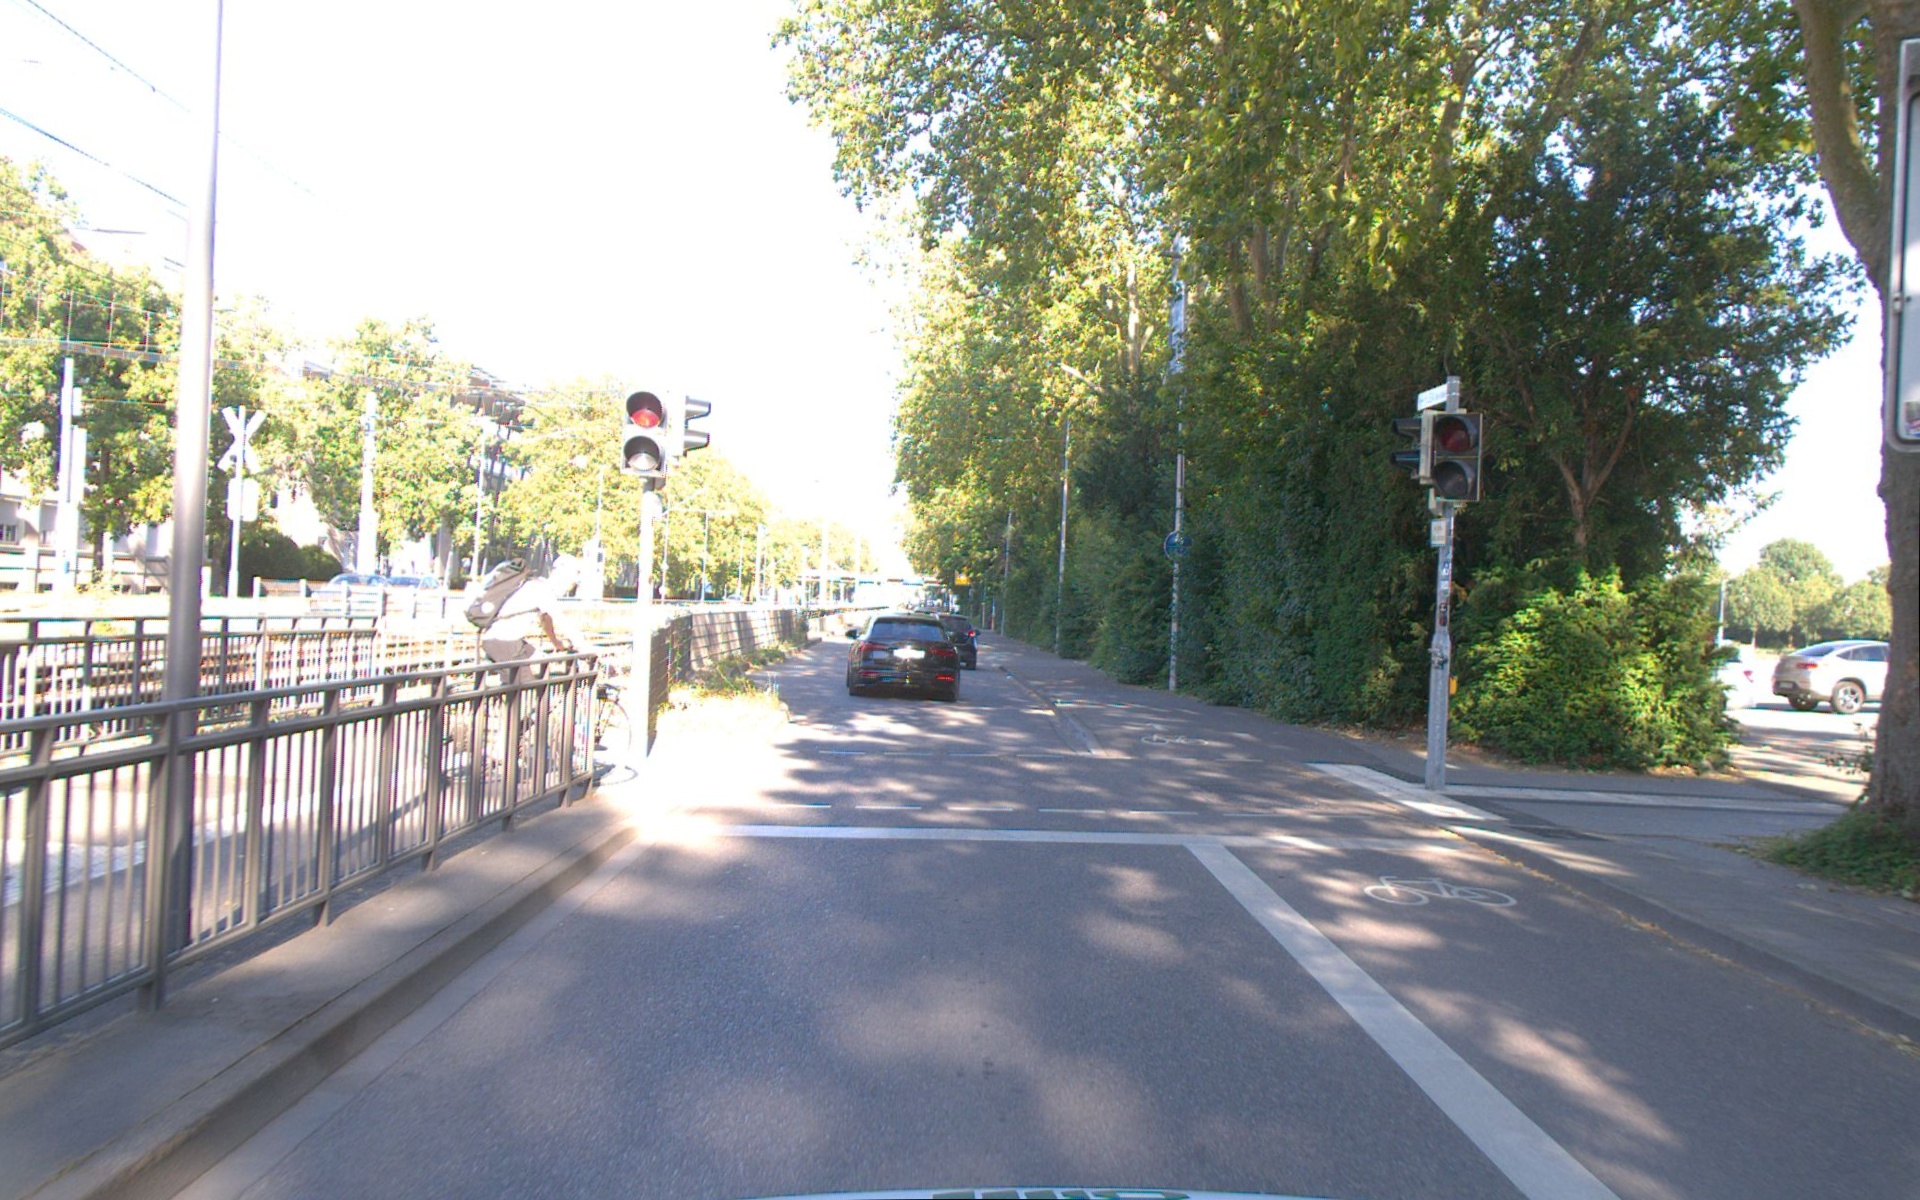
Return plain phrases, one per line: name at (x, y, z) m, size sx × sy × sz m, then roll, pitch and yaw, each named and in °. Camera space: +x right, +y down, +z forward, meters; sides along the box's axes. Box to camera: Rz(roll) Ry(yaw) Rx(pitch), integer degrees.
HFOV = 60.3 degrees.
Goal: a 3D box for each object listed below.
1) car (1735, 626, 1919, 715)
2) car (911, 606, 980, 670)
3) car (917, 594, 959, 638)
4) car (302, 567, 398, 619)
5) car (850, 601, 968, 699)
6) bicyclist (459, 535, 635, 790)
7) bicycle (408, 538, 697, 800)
car at (20.649, 1.648, 38.499) m, size 4.267 × 1.847 × 1.998 m, roll 3°, pitch 0°, yaw -5°
car at (-0.458, 1.046, 47.187) m, size 1.728 × 1.647 × 3.997 m, roll 3°, pitch 0°, yaw -3°
car at (-1.116, 0.778, 82.663) m, size 1.953 × 2.049 × 3.999 m, roll 3°, pitch 0°, yaw -1°
car at (-20.103, -0.211, 54.676) m, size 1.705 × 1.574 × 3.999 m, roll 4°, pitch -1°, yaw -2°
car at (-0.926, 0.816, 28.546) m, size 1.841 × 1.482 × 3.354 m, roll 3°, pitch 0°, yaw -4°
bicyclist at (-2.975, 0.435, 11.924) m, size 0.758 × 1.746 × 0.903 m, roll 2°, pitch -1°, yaw 43°
bicycle at (-2.909, 0.489, 11.988) m, size 0.581 × 1.746 × 1.959 m, roll 2°, pitch -1°, yaw 44°
